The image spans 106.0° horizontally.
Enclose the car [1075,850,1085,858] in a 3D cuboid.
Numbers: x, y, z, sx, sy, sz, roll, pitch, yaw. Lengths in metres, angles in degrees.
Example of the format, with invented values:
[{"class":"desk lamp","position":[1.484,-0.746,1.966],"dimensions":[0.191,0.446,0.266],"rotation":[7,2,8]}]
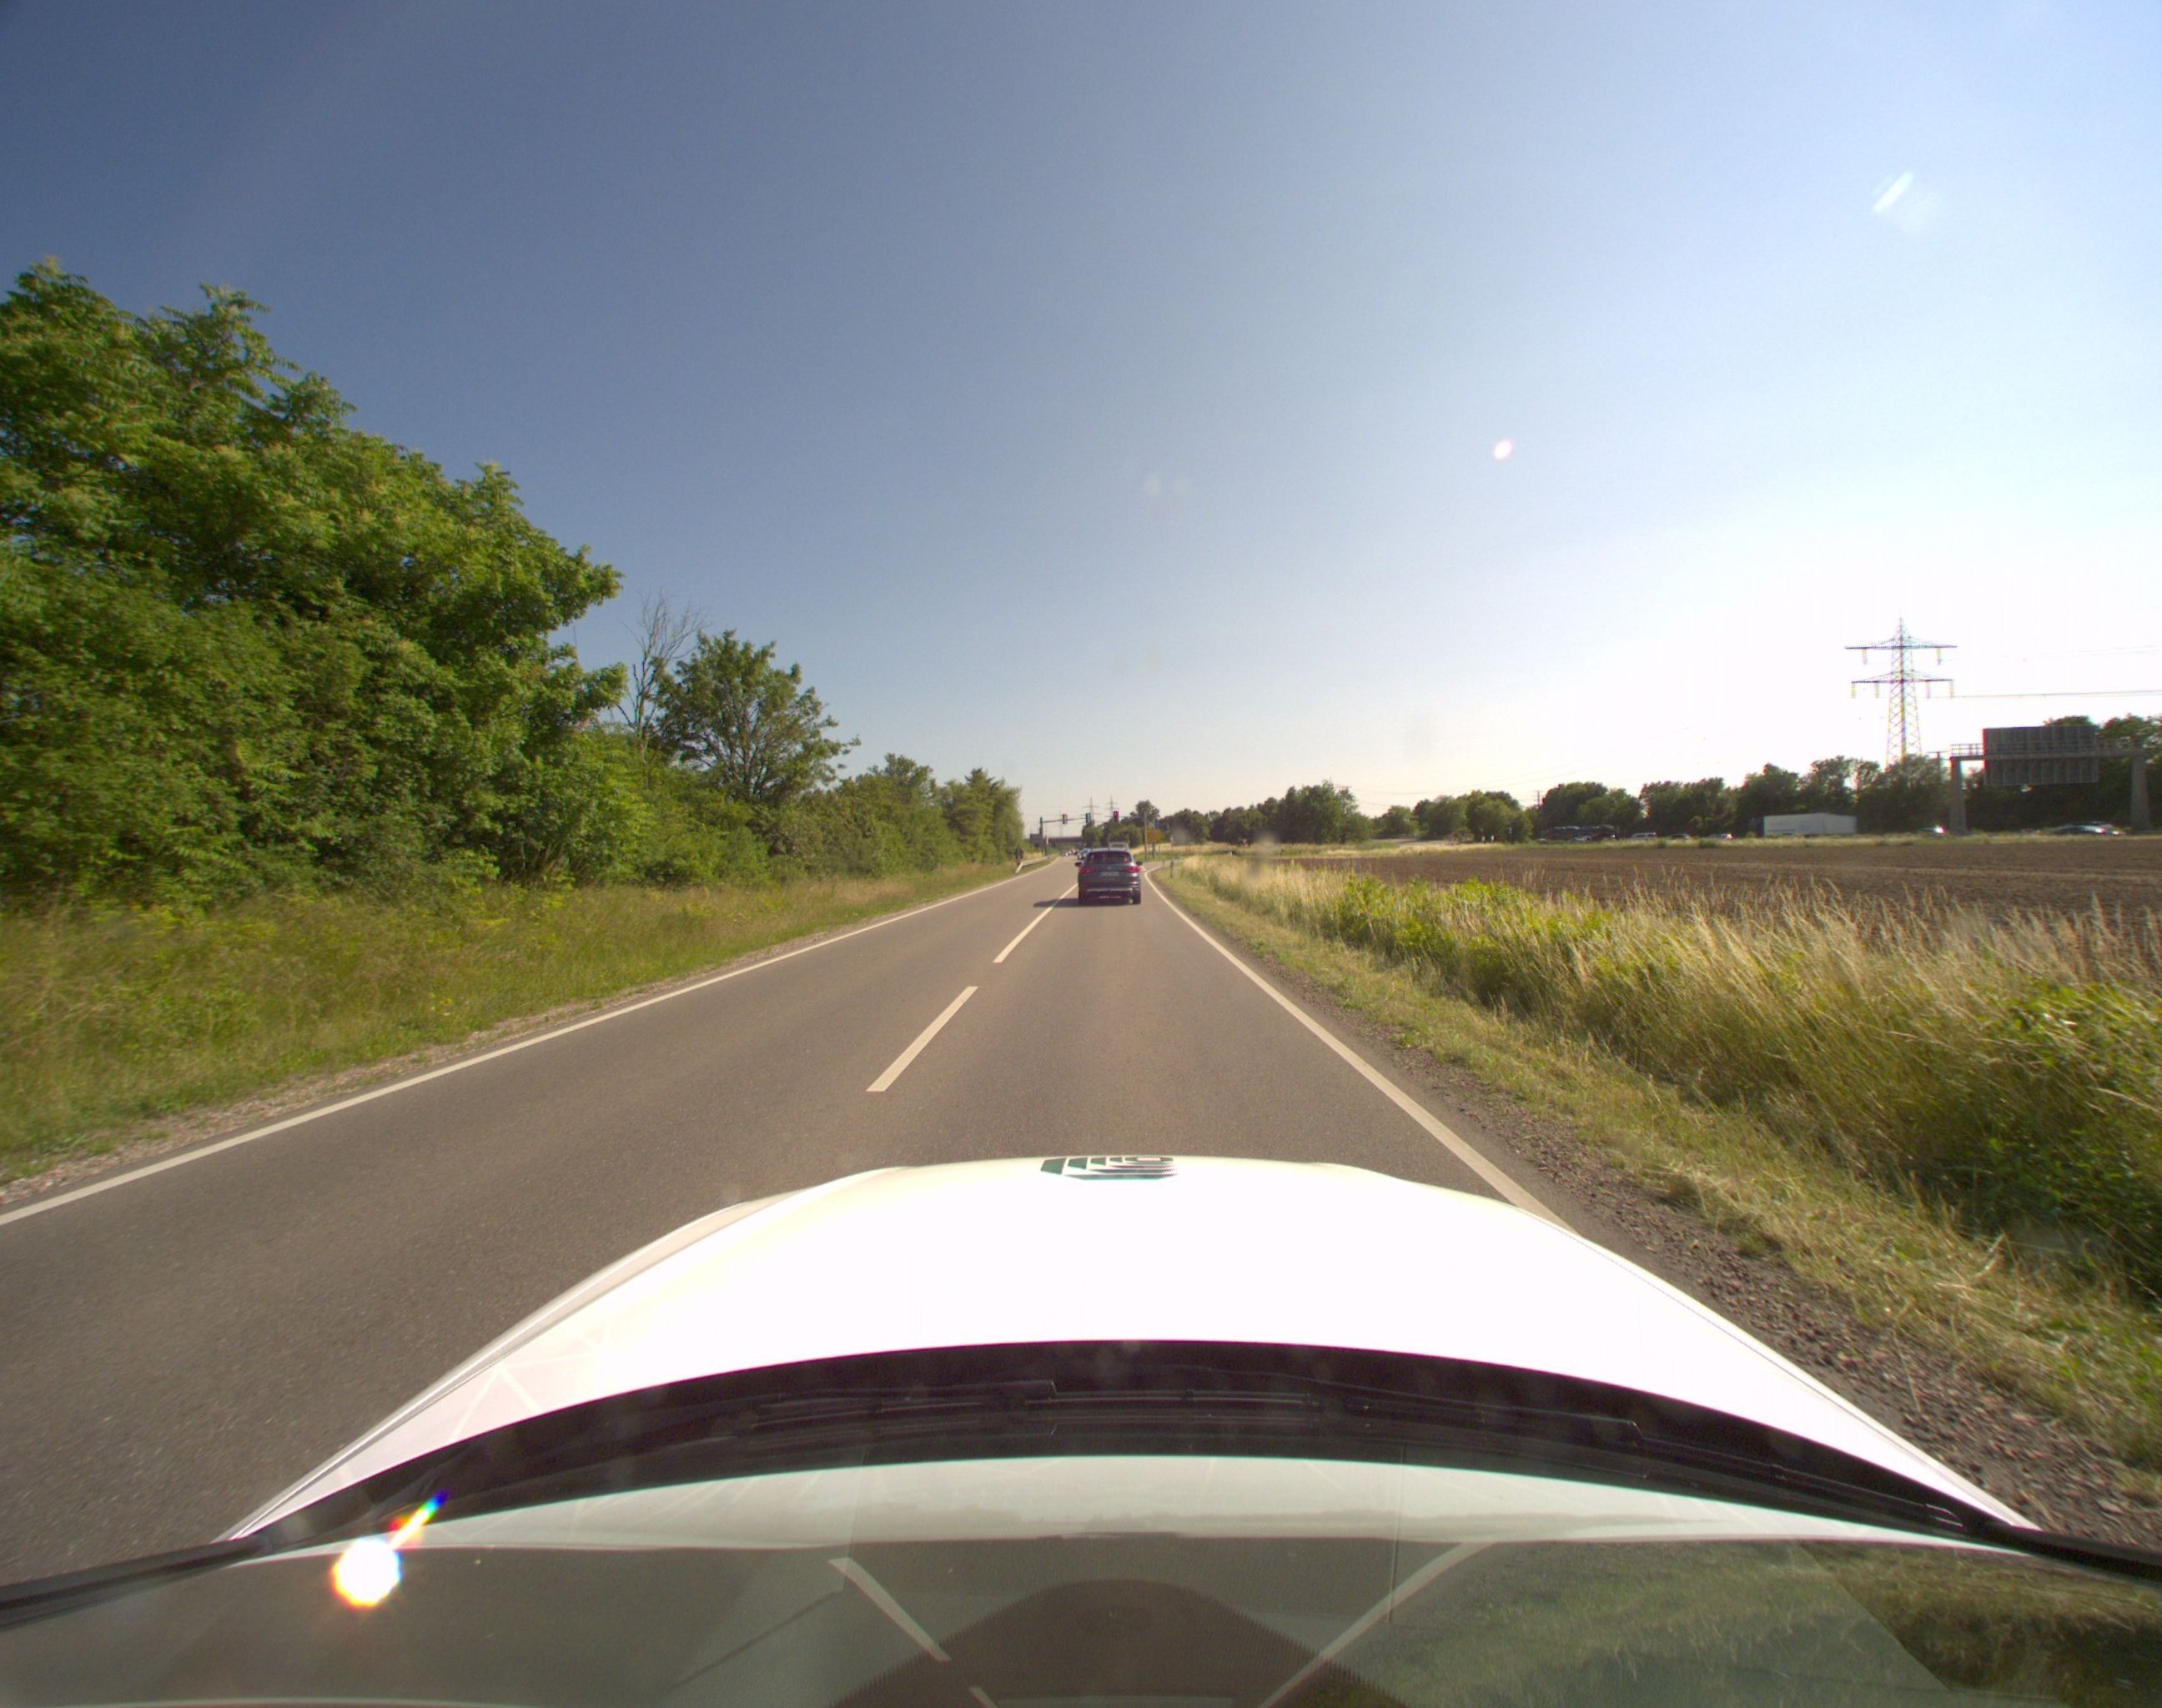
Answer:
[{"class":"car","position":[-0.259,-0.068,143.978],"dimensions":[1.679,1.380,3.531],"rotation":[-1,1,-2]}]

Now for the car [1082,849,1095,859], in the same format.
[{"class":"car","position":[1.113,-0.029,123.992],"dimensions":[1.811,1.540,3.997],"rotation":[-2,0,-2]}]

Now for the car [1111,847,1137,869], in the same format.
[{"class":"car","position":[3.225,0.295,61.517],"dimensions":[1.779,1.543,4.001],"rotation":[-1,1,1]}]

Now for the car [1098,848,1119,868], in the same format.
[{"class":"car","position":[2.427,0.347,71.852],"dimensions":[1.779,1.675,4.001],"rotation":[-1,1,1]}]

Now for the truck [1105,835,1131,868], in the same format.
[{"class":"truck","position":[3.604,-0.213,79.317],"dimensions":[2.328,3.066,5.813],"rotation":[-1,0,3]}]

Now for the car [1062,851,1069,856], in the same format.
[{"class":"car","position":[-4.311,-0.230,231.620],"dimensions":[1.820,1.431,3.997],"rotation":[-2,0,-2]}]

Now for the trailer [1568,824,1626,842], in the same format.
[{"class":"trailer","position":[103.558,-4.104,163.743],"dimensions":[3.273,3.267,13.455],"rotation":[-2,1,1]}]

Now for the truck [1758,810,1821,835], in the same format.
[{"class":"truck","position":[103.979,-4.548,119.685],"dimensions":[3.273,3.267,6.979],"rotation":[-2,0,0]}]

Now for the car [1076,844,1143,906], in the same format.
[{"class":"car","position":[0.833,0.555,24.258],"dimensions":[1.779,1.629,4.002],"rotation":[-1,1,1]}]

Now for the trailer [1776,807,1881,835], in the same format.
[{"class":"trailer","position":[103.941,-4.537,113.724],"dimensions":[3.273,3.267,12.457],"rotation":[-2,0,1]}]

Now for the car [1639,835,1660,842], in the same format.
[{"class":"car","position":[96.569,-2.646,138.268],"dimensions":[1.389,1.151,3.183],"rotation":[0,1,1]}]
